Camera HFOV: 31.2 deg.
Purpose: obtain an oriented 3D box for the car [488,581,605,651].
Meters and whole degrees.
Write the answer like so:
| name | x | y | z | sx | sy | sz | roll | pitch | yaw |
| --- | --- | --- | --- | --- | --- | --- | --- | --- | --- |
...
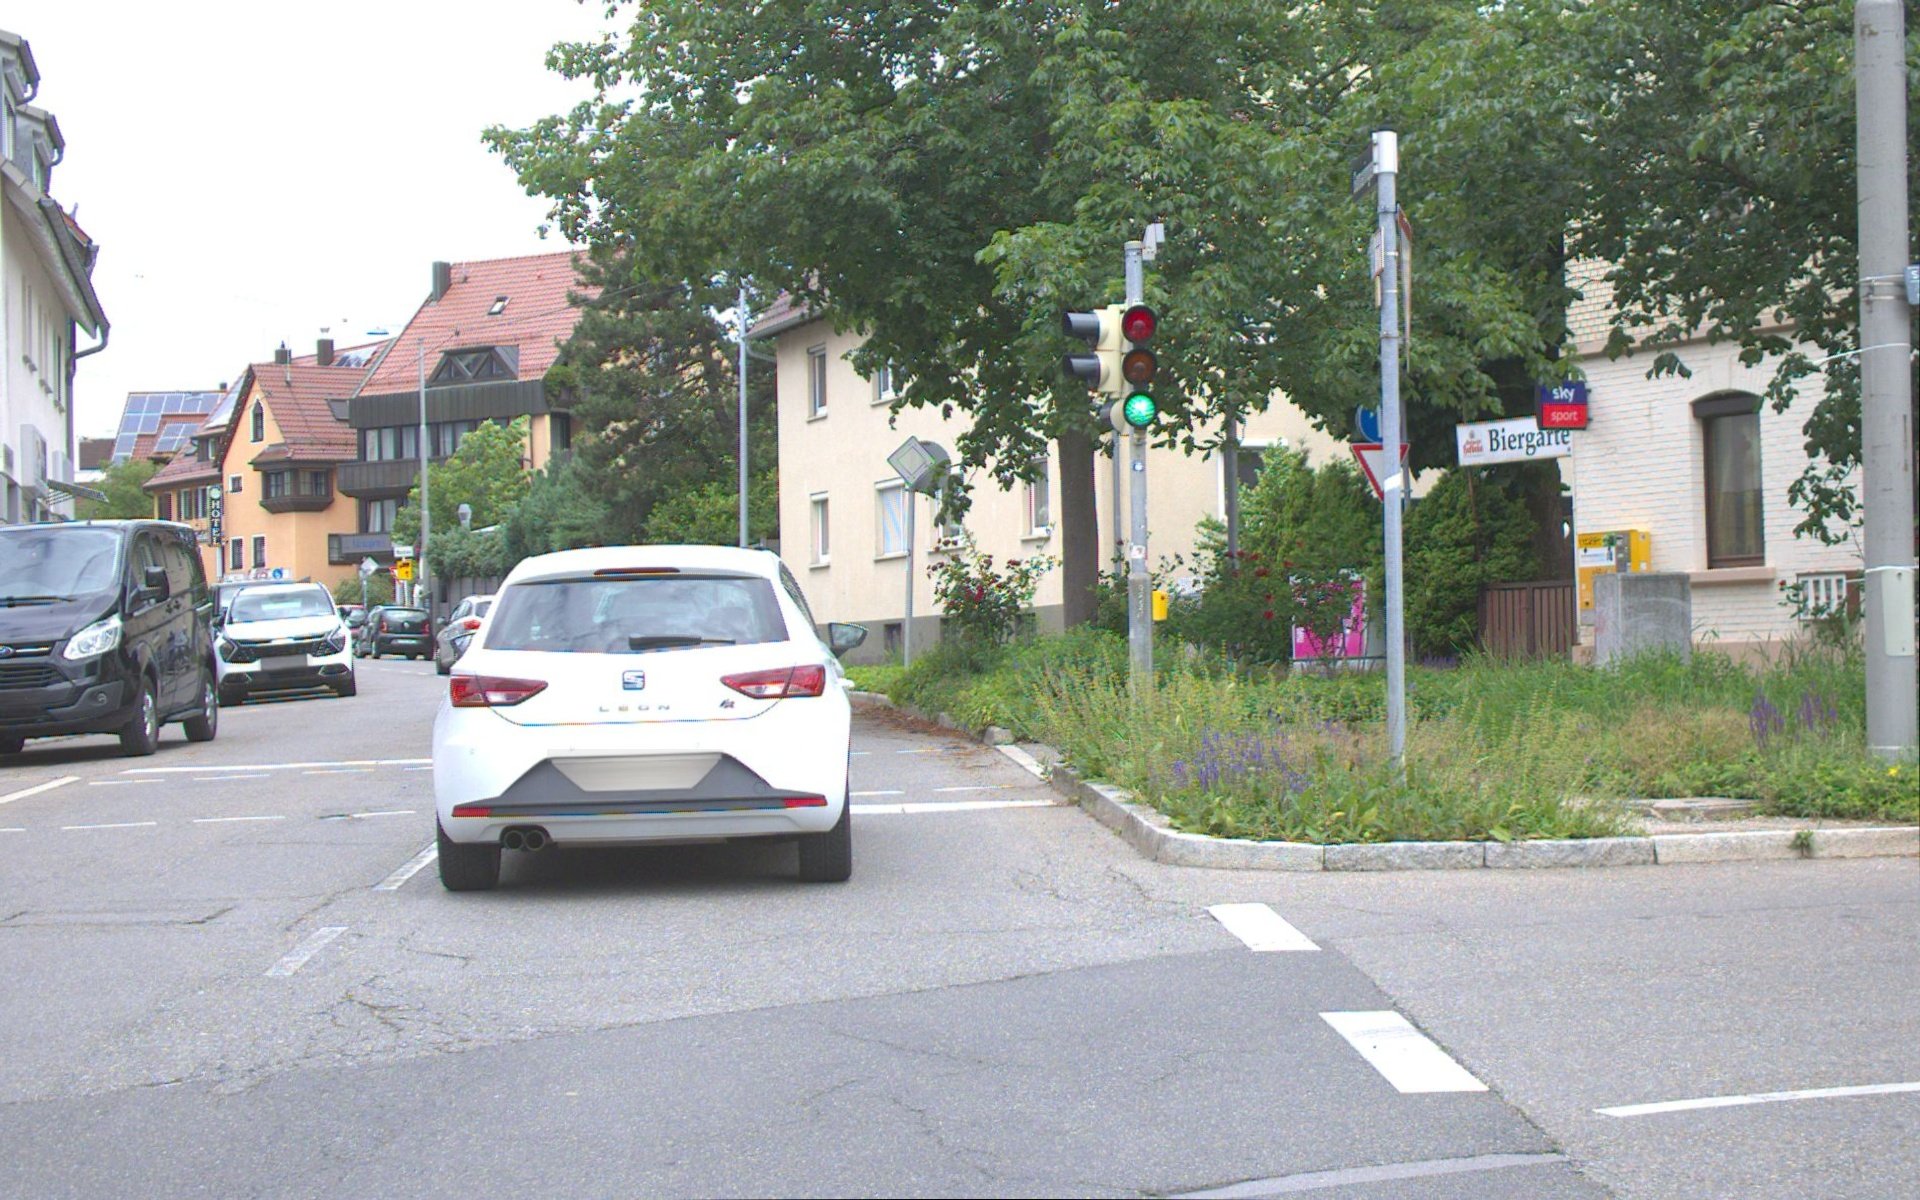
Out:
| name | x | y | z | sx | sy | sz | roll | pitch | yaw |
| --- | --- | --- | --- | --- | --- | --- | --- | --- | --- |
| car | -8.988 | 0.354 | 74.483 | 1.758 | 1.447 | 4.001 | 2 | -1 | -18 |

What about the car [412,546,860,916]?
| name | x | y | z | sx | sy | sz | roll | pitch | yaw |
| --- | --- | --- | --- | --- | --- | --- | --- | --- | --- |
| car | -1.376 | 0.492 | 15.646 | 1.758 | 1.447 | 4.000 | -1 | 1 | -3 |

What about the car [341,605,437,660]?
| name | x | y | z | sx | sy | sz | roll | pitch | yaw |
| --- | --- | --- | --- | --- | --- | --- | --- | --- | --- |
| car | -15.504 | 0.870 | 93.209 | 1.758 | 1.447 | 4.001 | 0 | 0 | -22 |

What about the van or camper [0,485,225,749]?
| name | x | y | z | sx | sy | sz | roll | pitch | yaw |
| --- | --- | --- | --- | --- | --- | --- | --- | --- | --- |
| van or camper | -7.662 | 0.201 | 28.971 | 2.073 | 1.999 | 4.858 | -3 | -1 | -3 |

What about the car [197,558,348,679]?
| name | x | y | z | sx | sy | sz | roll | pitch | yaw |
| --- | --- | --- | --- | --- | --- | --- | --- | --- | --- |
| car | -9.690 | 0.253 | 48.632 | 1.997 | 1.627 | 4.859 | 0 | 0 | -11 |

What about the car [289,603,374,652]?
| name | x | y | z | sx | sy | sz | roll | pitch | yaw |
| --- | --- | --- | --- | --- | --- | --- | --- | --- | --- |
| car | -18.973 | 0.821 | 103.638 | 1.758 | 1.447 | 4.001 | 0 | 0 | -22 |

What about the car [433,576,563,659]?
| name | x | y | z | sx | sy | sz | roll | pitch | yaw |
| --- | --- | --- | --- | --- | --- | --- | --- | --- | --- |
| car | -8.359 | 0.319 | 61.981 | 1.758 | 1.447 | 4.001 | 0 | 0 | -16 |
